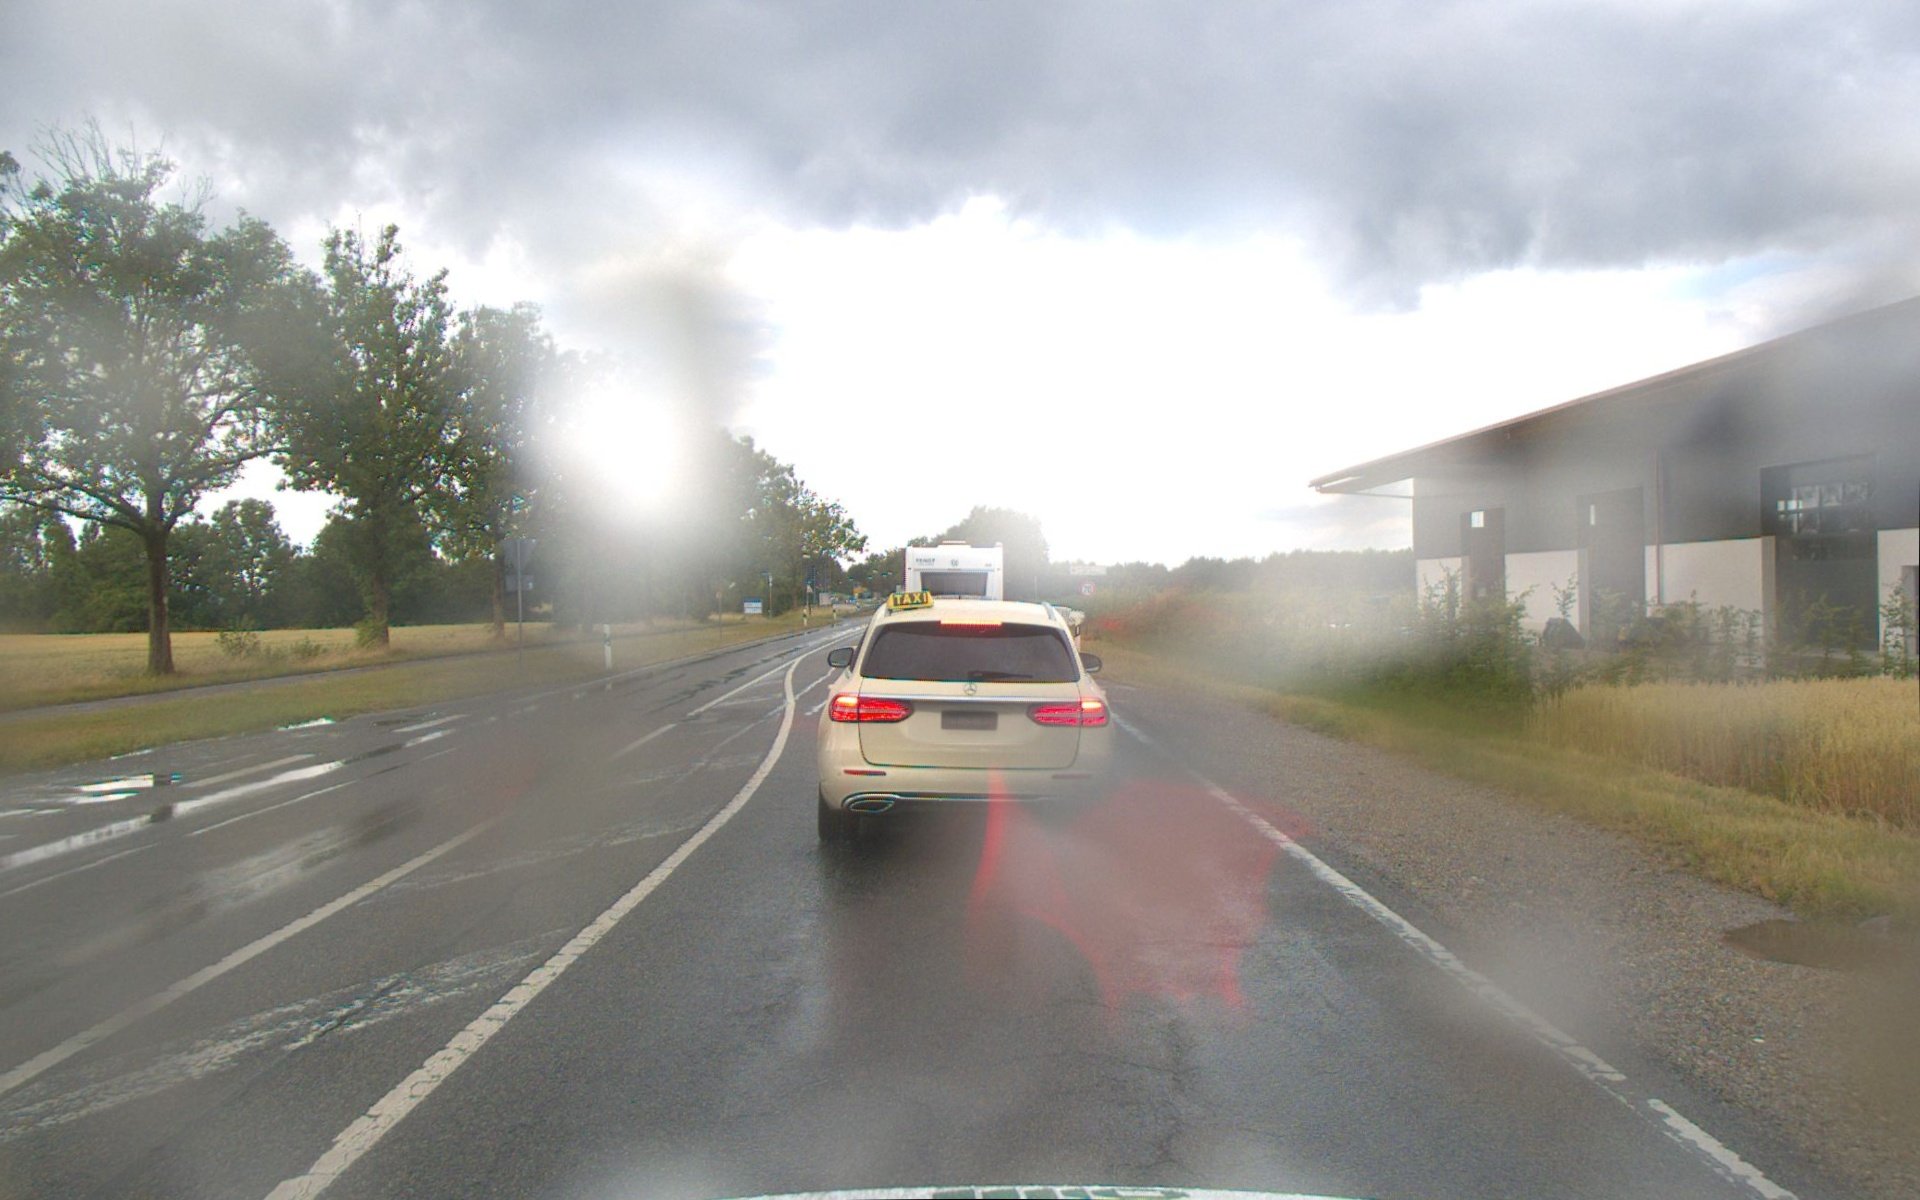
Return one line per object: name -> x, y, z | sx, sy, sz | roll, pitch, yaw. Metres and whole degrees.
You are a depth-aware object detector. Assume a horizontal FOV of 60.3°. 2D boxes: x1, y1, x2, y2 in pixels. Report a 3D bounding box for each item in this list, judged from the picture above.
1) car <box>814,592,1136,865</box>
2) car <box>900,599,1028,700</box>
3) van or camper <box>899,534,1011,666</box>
car -> 0.075, 0.698, 11.065 | 1.760, 1.490, 4.030 | 0, 0, 0
car -> 0.027, 0.713, 25.942 | 1.856, 1.454, 3.927 | 0, 0, -1
van or camper -> -0.104, -0.008, 40.124 | 2.446, 2.880, 5.933 | -2, 0, 0
